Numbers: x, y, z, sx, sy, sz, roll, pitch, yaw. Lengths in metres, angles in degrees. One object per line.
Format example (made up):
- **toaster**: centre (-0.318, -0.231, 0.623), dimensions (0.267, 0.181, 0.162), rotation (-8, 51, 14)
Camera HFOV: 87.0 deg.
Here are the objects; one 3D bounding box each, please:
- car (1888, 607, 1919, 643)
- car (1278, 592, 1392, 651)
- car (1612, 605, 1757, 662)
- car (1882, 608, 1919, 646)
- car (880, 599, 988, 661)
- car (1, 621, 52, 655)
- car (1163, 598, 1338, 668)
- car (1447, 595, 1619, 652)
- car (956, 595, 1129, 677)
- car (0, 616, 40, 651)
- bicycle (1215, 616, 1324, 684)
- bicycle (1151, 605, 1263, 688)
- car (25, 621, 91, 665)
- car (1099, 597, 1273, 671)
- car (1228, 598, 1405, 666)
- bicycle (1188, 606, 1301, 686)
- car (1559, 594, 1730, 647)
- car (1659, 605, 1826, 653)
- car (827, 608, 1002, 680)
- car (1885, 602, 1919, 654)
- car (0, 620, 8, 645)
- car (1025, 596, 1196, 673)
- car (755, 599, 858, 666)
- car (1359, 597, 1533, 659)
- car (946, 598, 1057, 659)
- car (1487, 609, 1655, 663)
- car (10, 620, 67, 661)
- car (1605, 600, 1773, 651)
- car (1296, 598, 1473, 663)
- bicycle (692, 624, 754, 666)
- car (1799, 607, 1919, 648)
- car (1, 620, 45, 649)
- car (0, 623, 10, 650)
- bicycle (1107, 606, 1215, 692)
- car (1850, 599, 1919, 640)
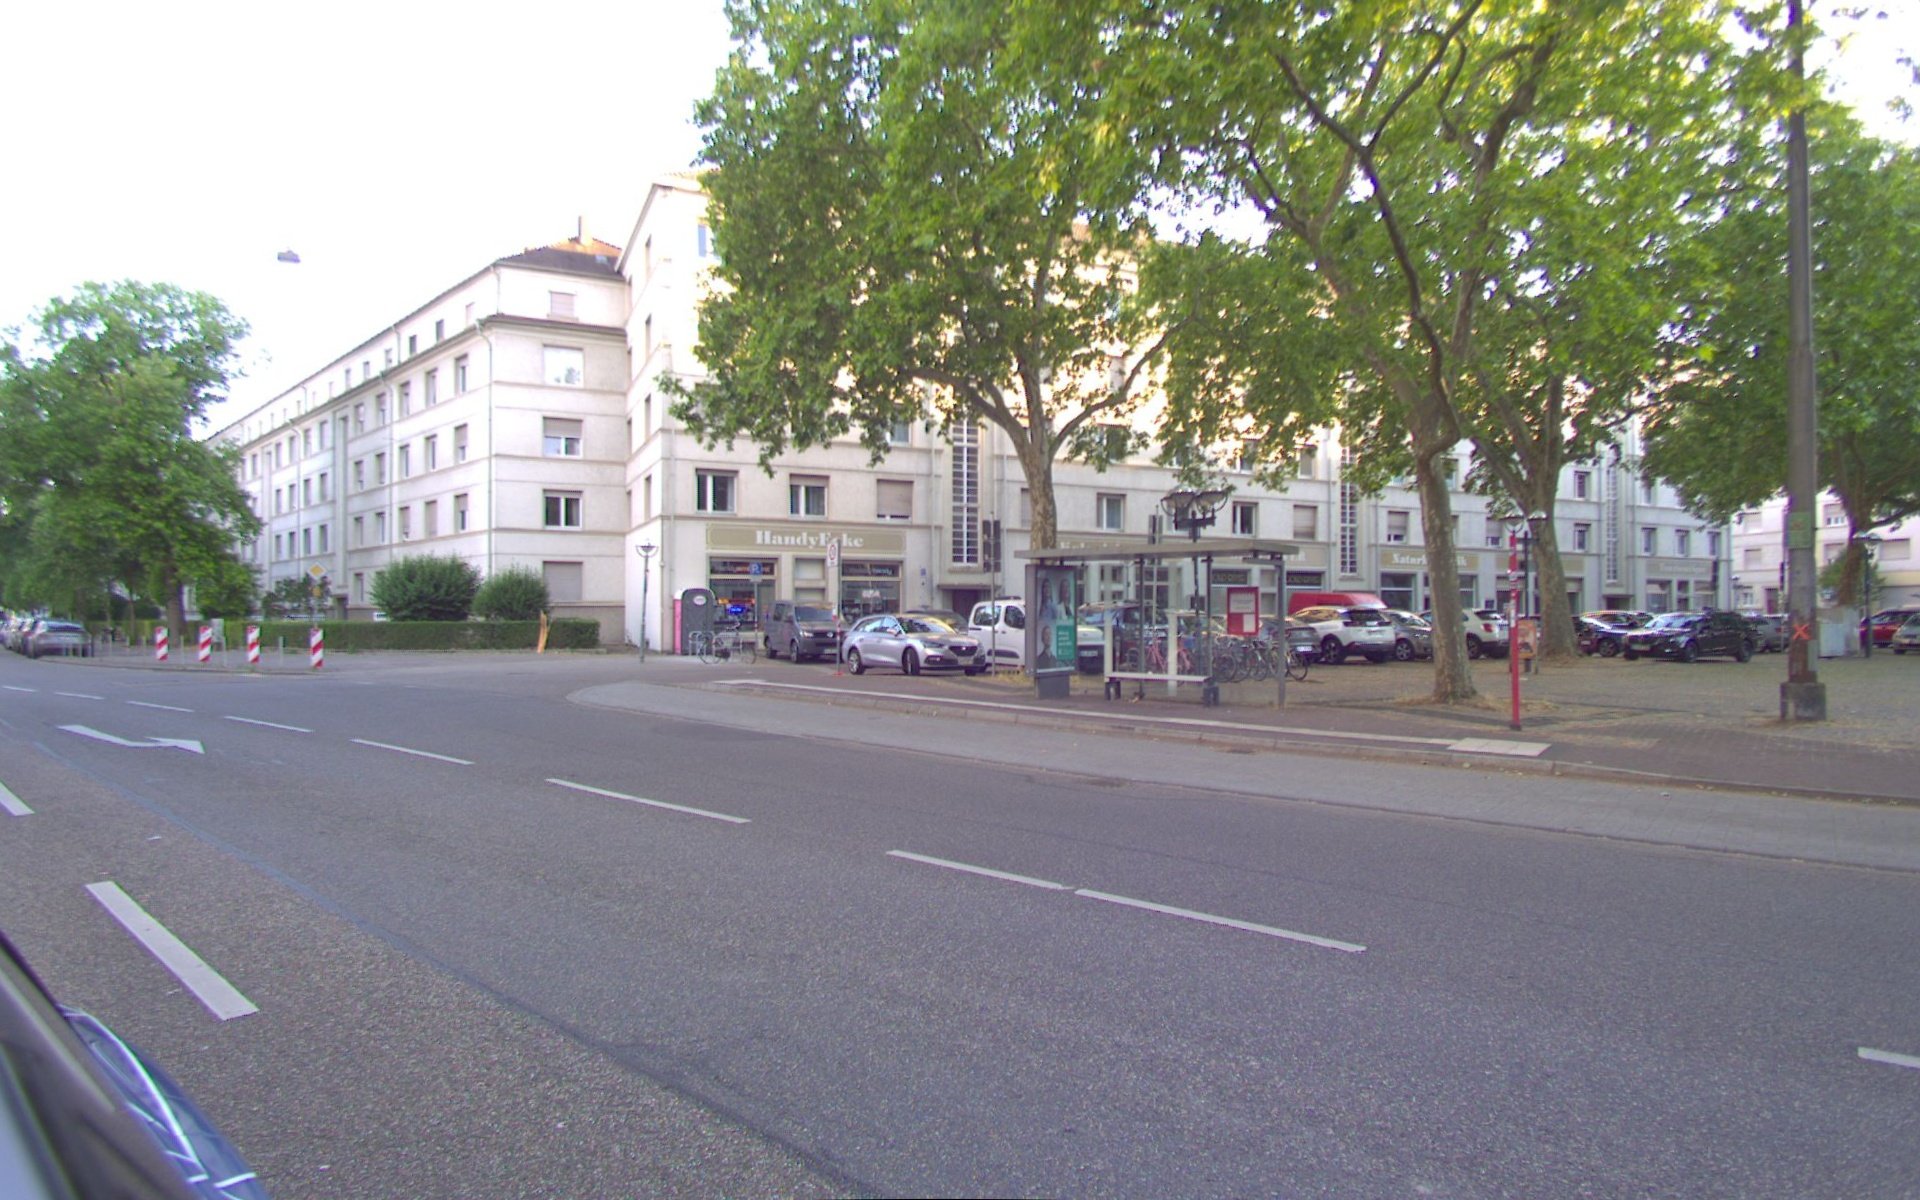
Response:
- **car**: centre (47.520, 1.177, 48.195), dimensions (1.969, 1.748, 4.648), rotation (2, -4, -40)
- **car**: centre (16.639, 0.917, 45.190), dimensions (1.965, 2.460, 4.656), rotation (1, 0, -26)
- **car**: centre (20.744, 0.930, 28.988), dimensions (3.696, 1.540, 1.680), rotation (1, 0, -23)
- **car**: centre (45.714, 1.217, 46.519), dimensions (1.969, 1.748, 4.648), rotation (2, -4, -40)
- **car**: centre (-0.998, 0.996, 35.419), dimensions (1.965, 1.970, 4.656), rotation (1, 0, -26)
- **car**: centre (-48.553, 1.949, 52.617), dimensions (1.867, 1.612, 4.263), rotation (-1, 0, -44)
- **car**: centre (7.968, 0.953, 28.210), dimensions (1.965, 1.795, 4.655), rotation (1, -3, -28)
- **car**: centre (19.174, 0.859, 34.116), dimensions (1.965, 1.795, 4.655), rotation (1, -3, -28)
- **car**: centre (1.858, 0.899, 24.500), dimensions (1.965, 1.795, 4.655), rotation (1, -3, -28)
- **car**: centre (-52.893, 1.857, 56.698), dimensions (1.867, 1.787, 4.263), rotation (-1, 0, -44)
- **bicycle**: centre (6.880, 1.073, 22.678), dimensions (0.680, 1.394, 2.754), rotation (0, 0, -24)
- **bicycle**: centre (5.230, 0.935, 21.648), dimensions (0.795, 1.626, 2.754), rotation (0, 0, -24)
- **car**: centre (-37.301, 1.733, 41.809), dimensions (1.867, 1.612, 4.003), rotation (-1, 0, -44)
- **car**: centre (5.914, 0.954, 27.128), dimensions (1.965, 1.795, 4.655), rotation (1, -3, -28)
- **car**: centre (10.145, 0.960, 29.194), dimensions (1.965, 1.795, 4.655), rotation (1, -3, -28)
- **bicycle**: centre (6.169, 0.953, 22.164), dimensions (0.795, 1.626, 2.754), rotation (0, 0, -24)
- **car**: centre (24.732, 0.814, 36.759), dimensions (2.057, 1.795, 4.655), rotation (1, -3, -28)
- **car**: centre (29.999, 1.161, 38.972), dimensions (1.965, 1.748, 4.655), rotation (1, -3, -28)
- **car**: centre (-1.200, 1.045, 23.894), dimensions (1.967, 1.515, 4.652), rotation (2, -3, -35)
- **car**: centre (33.066, 0.904, 33.896), dimensions (3.696, 1.674, 1.680), rotation (-1, 0, -23)
- **car**: centre (-76.332, 2.527, 79.737), dimensions (1.867, 1.879, 4.263), rotation (-1, 0, -44)
- **car**: centre (3.758, 0.930, 26.223), dimensions (1.965, 1.795, 4.655), rotation (1, -3, -28)
- **car**: centre (-5.098, 0.998, 33.073), dimensions (1.965, 1.970, 4.656), rotation (1, 0, -26)
- **car**: centre (15.165, 0.934, 31.881), dimensions (1.965, 1.795, 4.655), rotation (1, -3, -28)
- **car**: centre (1.411, 0.973, 36.603), dimensions (1.965, 1.970, 4.656), rotation (1, 0, -26)
- **car**: centre (21.357, 1.287, 35.576), dimensions (1.965, 1.748, 4.655), rotation (1, -3, -28)
- **car**: centre (-43.311, 1.859, 47.531), dimensions (1.867, 1.703, 4.263), rotation (-1, 0, -44)
- **car**: centre (27.074, 1.010, 37.774), dimensions (1.965, 1.795, 4.655), rotation (1, -3, -28)
- **car**: centre (12.594, 0.954, 30.380), dimensions (1.965, 1.795, 4.655), rotation (1, -3, -28)
- **bicycle**: centre (-7.177, 1.357, 30.662), dimensions (1.776, 1.215, 0.649), rotation (0, 0, -16)
- **car**: centre (40.622, 1.246, 45.109), dimensions (1.969, 1.748, 4.648), rotation (2, -4, -40)
- **car**: centre (-56.496, 2.051, 60.983), dimensions (1.867, 1.612, 4.263), rotation (-1, 0, -44)
- **car**: centre (-70.069, 2.661, 73.250), dimensions (1.867, 1.840, 4.263), rotation (-1, 0, -44)
- **bicycle**: centre (4.052, 0.948, 20.720), dimensions (0.680, 1.626, 2.754), rotation (0, 0, -24)
- **car**: centre (43.280, 0.881, 45.444), dimensions (1.968, 1.824, 4.658), rotation (2, -4, -38)
